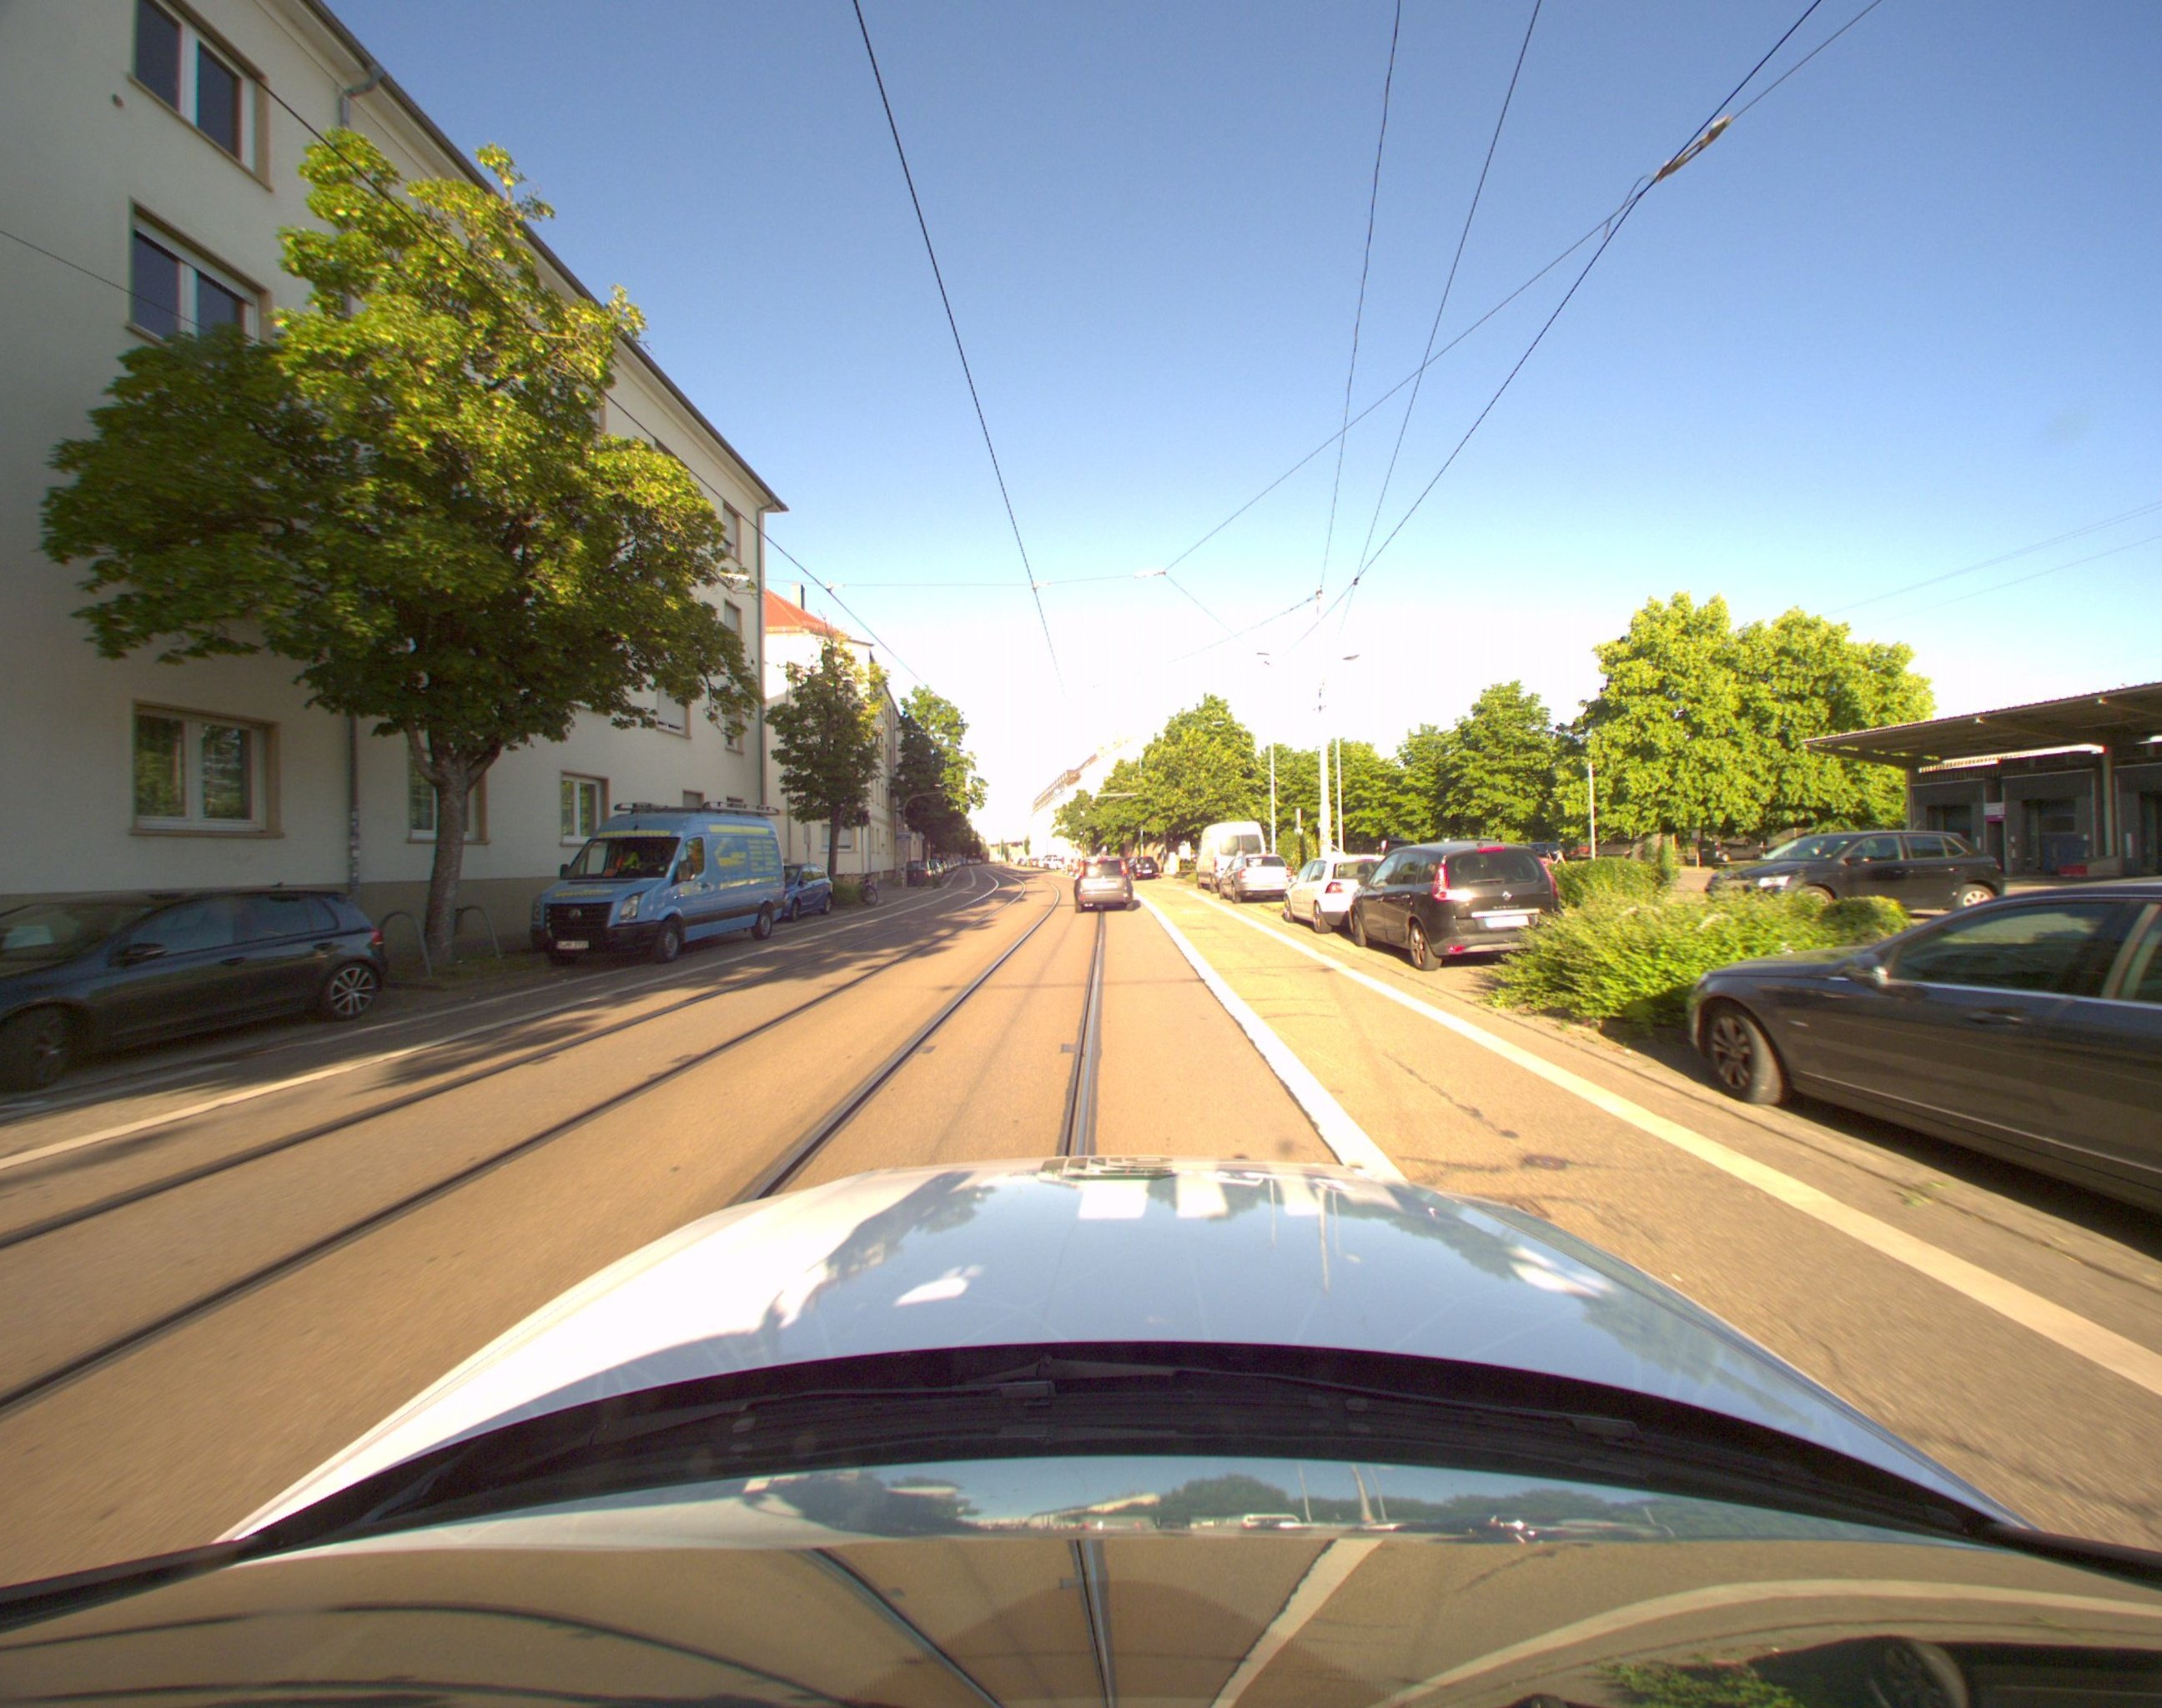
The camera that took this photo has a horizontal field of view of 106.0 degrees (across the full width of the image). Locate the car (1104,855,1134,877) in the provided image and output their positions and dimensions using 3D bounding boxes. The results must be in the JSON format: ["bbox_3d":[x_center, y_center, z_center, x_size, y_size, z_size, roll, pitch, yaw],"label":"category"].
[{"bbox_3d":[2.816,0.866,61.586,1.686,1.530,3.993,-3,0,-5],"label":"car"}]

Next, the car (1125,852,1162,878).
[{"bbox_3d":[3.916,0.699,51.926,1.686,1.530,3.993,-3,0,-5],"label":"car"}]

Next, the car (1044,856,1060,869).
[{"bbox_3d":[-3.767,1.112,105.729,1.655,1.571,3.864,0,-1,-9],"label":"car"}]

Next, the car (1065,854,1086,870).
[{"bbox_3d":[-0.552,0.793,83.248,1.634,1.508,3.388,-4,0,-8],"label":"car"}]

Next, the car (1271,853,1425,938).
[{"bbox_3d":[5.257,0.749,16.632,1.723,1.512,4.250,0,0,-1],"label":"car"}]

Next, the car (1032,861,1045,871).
[{"bbox_3d":[-6.424,1.790,122.126,1.655,1.500,3.120,0,-1,-9],"label":"car"}]

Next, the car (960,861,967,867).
[{"bbox_3d":[-27.273,2.292,189.254,1.705,1.497,3.712,0,0,-7],"label":"car"}]

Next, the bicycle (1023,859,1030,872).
[{"bbox_3d":[-8.402,1.733,125.730,0.741,2.014,2.803,0,-1,-9],"label":"bicycle"}]

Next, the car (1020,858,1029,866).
[{"bbox_3d":[-10.850,1.496,156.063,1.582,1.599,3.366,0,-1,-9],"label":"car"}]

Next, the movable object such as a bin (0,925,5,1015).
[{"bbox_3d":[-11.490,1.210,8.177,0.594,0.934,0.568,-2,0,-1],"label":"movable object such as a bin"}]

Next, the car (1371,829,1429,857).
[{"bbox_3d":[28.114,-0.965,71.806,4.188,2.241,2.136,-2,0,-11],"label":"car"}]

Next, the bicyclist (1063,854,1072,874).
[{"bbox_3d":[-1.179,0.885,70.827,0.699,1.759,0.755,0,-1,-9],"label":"bicyclist"}]

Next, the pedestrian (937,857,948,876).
[{"bbox_3d":[-13.247,1.209,77.842,0.854,1.776,0.728,-2,0,-28],"label":"pedestrian"}]

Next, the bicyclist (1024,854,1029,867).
[{"bbox_3d":[-8.398,1.059,125.870,0.715,2.014,0.829,0,-1,-9],"label":"bicyclist"}]

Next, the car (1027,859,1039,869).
[{"bbox_3d":[-7.777,1.587,131.541,1.583,1.405,3.366,-5,0,-9],"label":"car"}]

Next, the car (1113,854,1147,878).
[{"bbox_3d":[3.371,0.818,56.393,1.686,1.530,4.347,-3,0,-5],"label":"car"}]

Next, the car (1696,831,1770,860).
[{"bbox_3d":[45.578,-0.585,56.958,4.128,1.921,1.737,-2,0,-11],"label":"car"}]

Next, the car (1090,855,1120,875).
[{"bbox_3d":[1.982,0.910,68.531,1.689,1.530,3.985,-3,0,-10],"label":"car"}]

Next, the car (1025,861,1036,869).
[{"bbox_3d":[-8.915,1.878,143.455,1.582,1.405,3.366,0,-1,-9],"label":"car"}]

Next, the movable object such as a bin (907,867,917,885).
[{"bbox_3d":[-9.152,1.192,44.146,0.484,0.987,0.658,0,-1,-6],"label":"movable object such as a bin"}]

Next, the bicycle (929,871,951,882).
[{"bbox_3d":[-12.921,2.057,74.750,1.923,1.046,0.475,0,-1,-8],"label":"bicycle"}]

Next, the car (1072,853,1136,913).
[{"bbox_3d":[0.674,0.780,23.621,1.644,1.541,4.236,-1,0,2],"label":"car"}]

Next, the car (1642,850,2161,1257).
[{"bbox_3d":[4.777,0.720,3.556,1.721,1.464,4.501,0,0,3],"label":"car"}]

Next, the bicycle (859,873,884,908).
[{"bbox_3d":[-7.212,1.227,28.064,0.511,1.134,2.027,0,-1,-5],"label":"bicycle"}]

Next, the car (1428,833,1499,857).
[{"bbox_3d":[29.831,-0.694,63.606,4.678,1.816,1.957,0,-1,-7],"label":"car"}]

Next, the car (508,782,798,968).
[{"bbox_3d":[-7.578,0.344,15.430,2.009,2.826,6.036,0,-1,3],"label":"car"}]

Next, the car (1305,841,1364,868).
[{"bbox_3d":[21.290,0.015,68.460,4.272,2.013,1.771,-3,0,-4],"label":"car"}]

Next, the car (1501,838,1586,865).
[{"bbox_3d":[30.950,-0.158,54.559,4.678,1.816,1.957,0,-1,-7],"label":"car"}]

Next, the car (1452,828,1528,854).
[{"bbox_3d":[29.710,-0.912,59.261,4.678,1.816,1.957,0,-1,-7],"label":"car"}]

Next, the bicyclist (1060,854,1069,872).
[{"bbox_3d":[-1.624,0.913,79.854,0.699,1.759,0.755,0,-1,-9],"label":"bicyclist"}]

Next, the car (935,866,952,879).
[{"bbox_3d":[-16.629,2.181,98.662,1.807,1.508,4.667,0,0,-8],"label":"car"}]

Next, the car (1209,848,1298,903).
[{"bbox_3d":[5.345,0.646,25.835,1.903,1.530,4.601,-2,0,1],"label":"car"}]

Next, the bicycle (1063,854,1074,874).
[{"bbox_3d":[-1.122,0.877,70.614,0.675,1.747,2.151,0,-1,-9],"label":"bicycle"}]

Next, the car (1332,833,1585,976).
[{"bbox_3d":[5.192,0.623,11.925,1.721,1.604,4.344,-3,-1,2],"label":"car"}]

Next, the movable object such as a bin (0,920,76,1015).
[{"bbox_3d":[-11.504,1.215,8.779,0.594,0.934,0.568,-2,0,-1],"label":"movable object such as a bin"}]

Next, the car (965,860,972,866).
[{"bbox_3d":[-28.245,2.374,204.986,1.705,1.497,3.712,0,0,-7],"label":"car"}]

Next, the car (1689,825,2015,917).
[{"bbox_3d":[12.490,0.262,13.376,3.690,1.400,1.759,0,-1,0],"label":"car"}]

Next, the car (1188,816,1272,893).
[{"bbox_3d":[5.807,0.051,32.573,2.173,2.665,6.091,-3,-1,0],"label":"car"}]

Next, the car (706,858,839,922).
[{"bbox_3d":[-8.443,0.925,22.804,1.784,1.561,4.643,2,0,2],"label":"car"}]

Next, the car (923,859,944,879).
[{"bbox_3d":[-12.952,1.268,71.230,1.653,1.668,4.278,0,-1,-12],"label":"car"}]

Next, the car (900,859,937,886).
[{"bbox_3d":[-9.757,1.073,49.051,1.685,1.530,3.993,0,0,-4],"label":"car"}]

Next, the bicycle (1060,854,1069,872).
[{"bbox_3d":[-1.618,0.892,79.822,0.675,1.747,2.151,0,-1,-9],"label":"bicycle"}]

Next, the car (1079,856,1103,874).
[{"bbox_3d":[0.887,0.975,73.843,1.686,1.530,3.993,-3,0,-5],"label":"car"}]

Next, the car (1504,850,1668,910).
[{"bbox_3d":[9.561,0.458,15.659,1.304,1.033,3.057,0,0,1],"label":"car"}]

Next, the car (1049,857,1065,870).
[{"bbox_3d":[-3.015,1.216,101.310,1.655,1.571,3.488,0,-1,-9],"label":"car"}]

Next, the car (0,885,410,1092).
[{"bbox_3d":[-8.731,1.058,7.402,1.645,1.425,4.192,0,0,2],"label":"car"}]

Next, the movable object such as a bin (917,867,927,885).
[{"bbox_3d":[-8.632,1.178,44.238,0.484,0.987,0.658,0,-1,-6],"label":"movable object such as a bin"}]

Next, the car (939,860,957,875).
[{"bbox_3d":[-14.501,1.449,88.823,1.807,1.508,4.179,0,0,-8],"label":"car"}]

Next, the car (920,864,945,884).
[{"bbox_3d":[-11.992,1.601,65.891,1.687,1.475,4.649,0,0,-7],"label":"car"}]

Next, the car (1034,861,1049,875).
[{"bbox_3d":[-5.732,2.002,116.948,1.655,1.944,4.650,0,-1,-8],"label":"car"}]
